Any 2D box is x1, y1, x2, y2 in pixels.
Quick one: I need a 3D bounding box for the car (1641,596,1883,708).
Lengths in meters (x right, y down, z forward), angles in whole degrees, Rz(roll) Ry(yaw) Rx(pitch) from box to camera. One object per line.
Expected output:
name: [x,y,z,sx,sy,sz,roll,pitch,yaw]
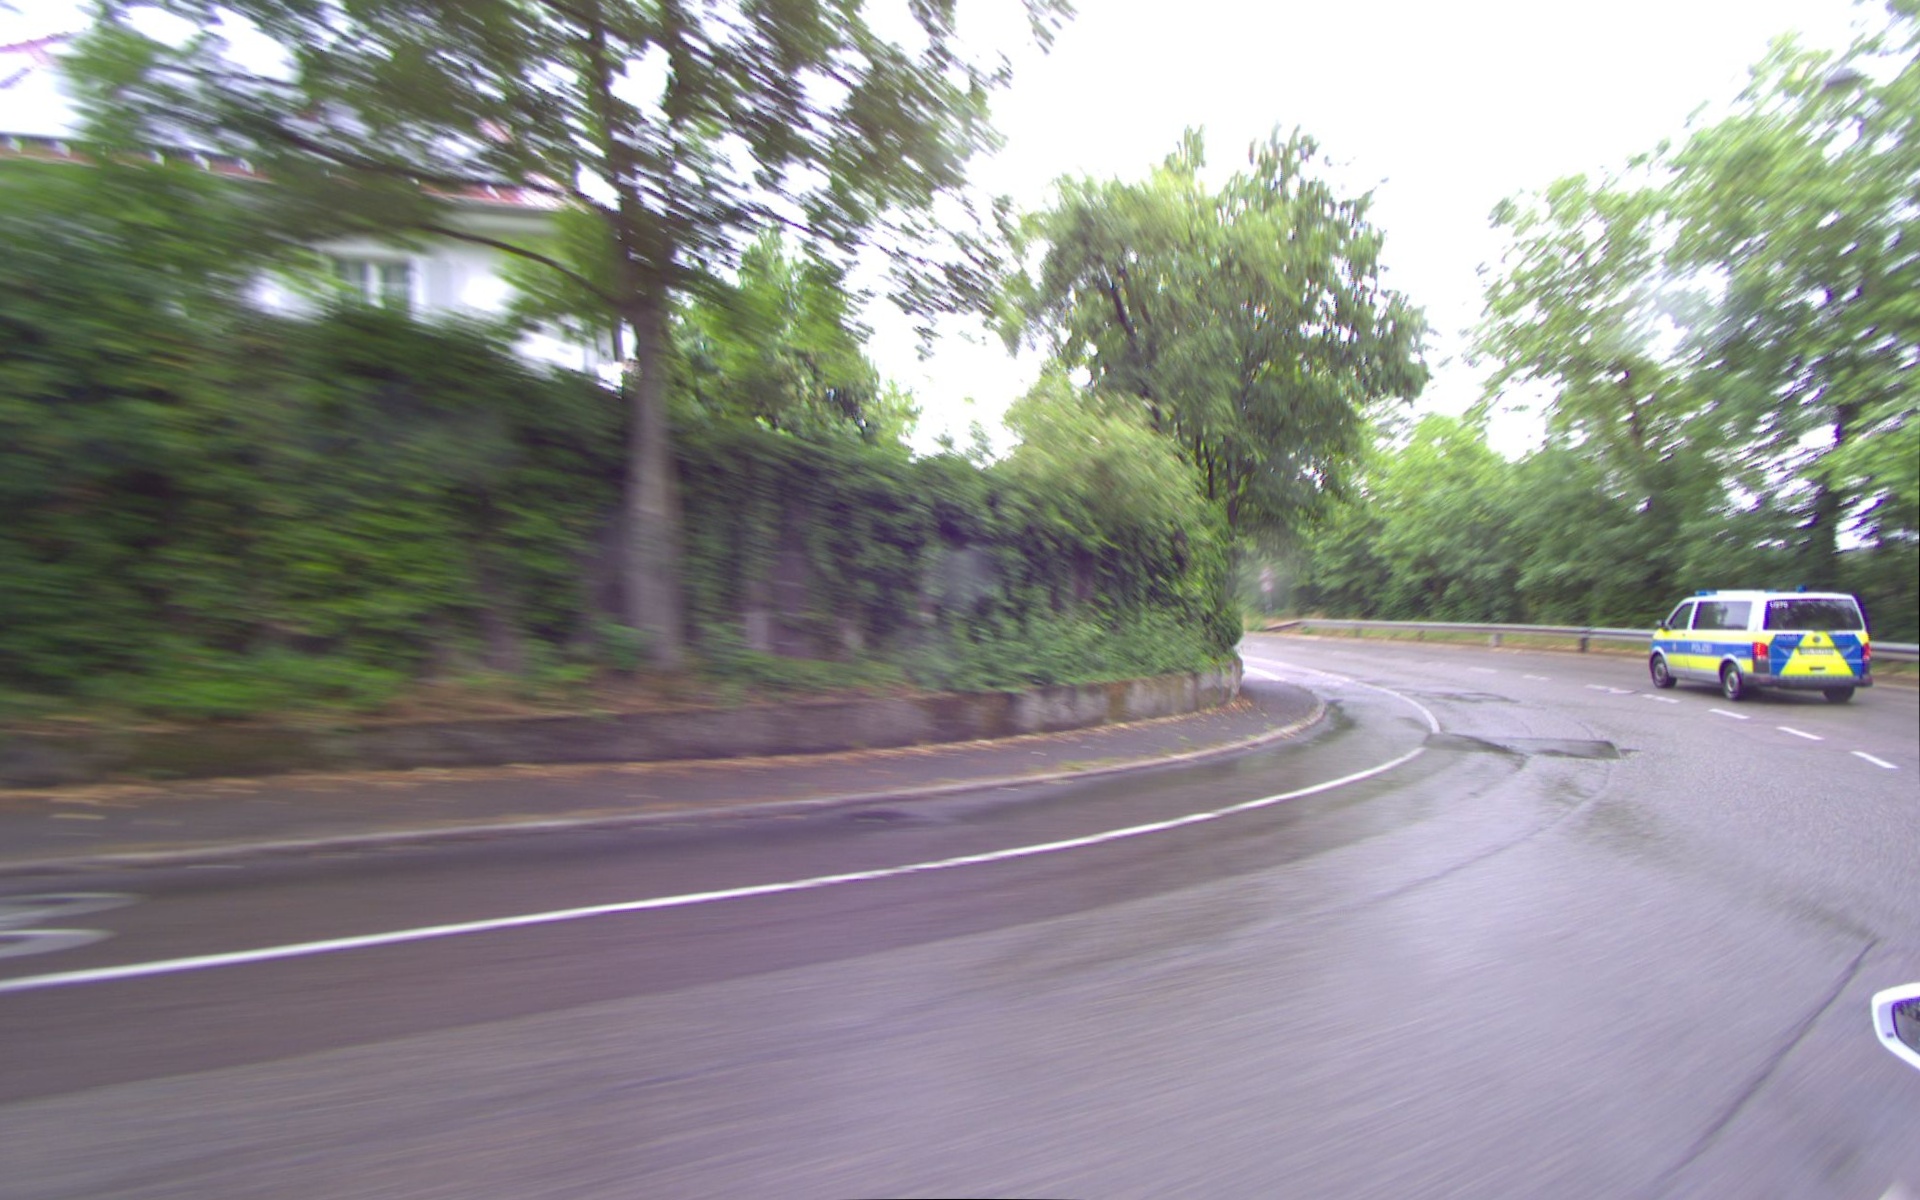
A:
car: [15.420,0.968,19.686,1.960,1.918,4.573,0,-2,14]
